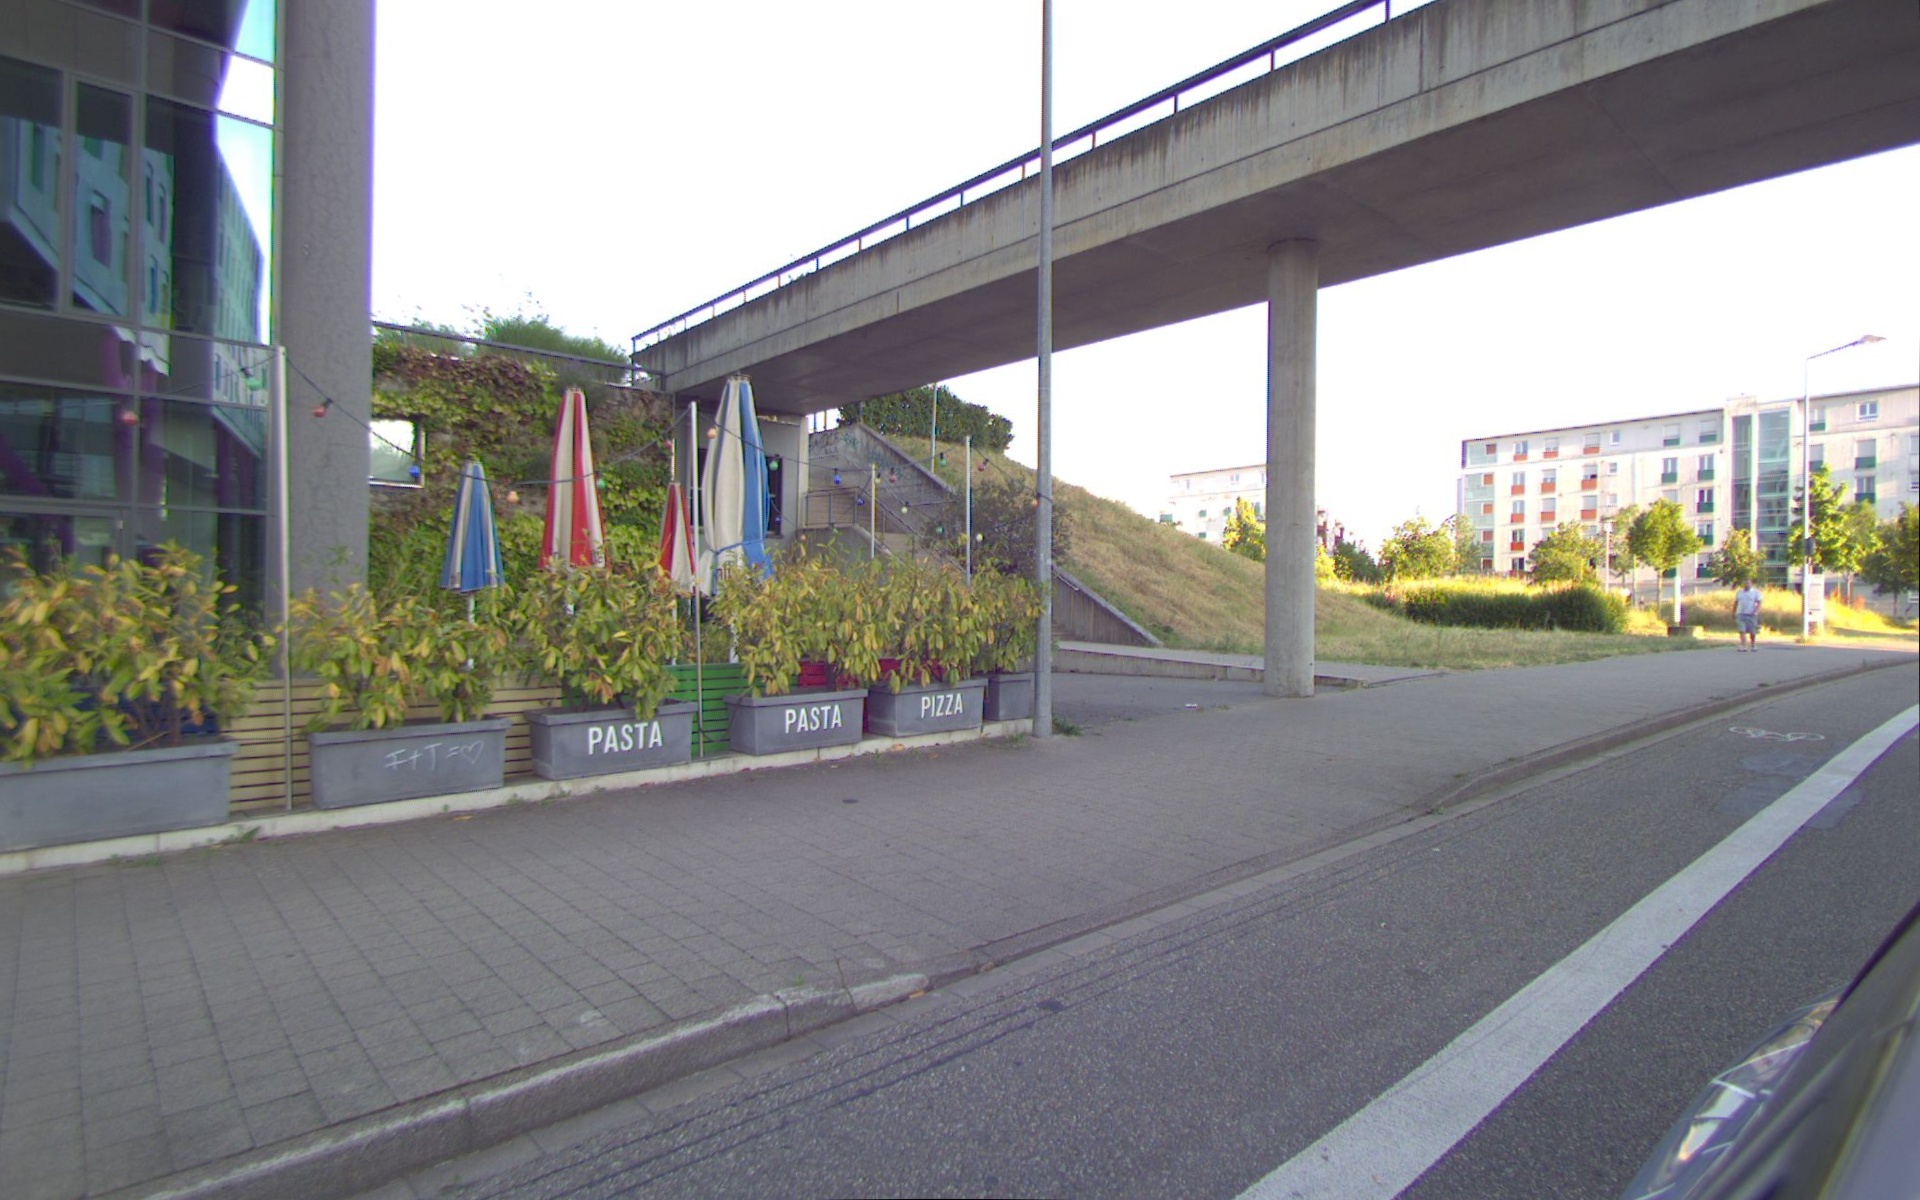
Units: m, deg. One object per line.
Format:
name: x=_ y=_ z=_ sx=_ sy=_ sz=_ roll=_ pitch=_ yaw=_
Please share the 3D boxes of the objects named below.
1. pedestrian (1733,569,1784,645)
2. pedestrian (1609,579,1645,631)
pedestrian: x=18.852 y=0.150 z=23.892 sx=0.890 sy=1.745 sz=0.737 roll=1 pitch=2 yaw=-40
pedestrian: x=22.052 y=0.165 z=33.458 sx=0.844 sy=1.650 sz=0.737 roll=1 pitch=2 yaw=-39
